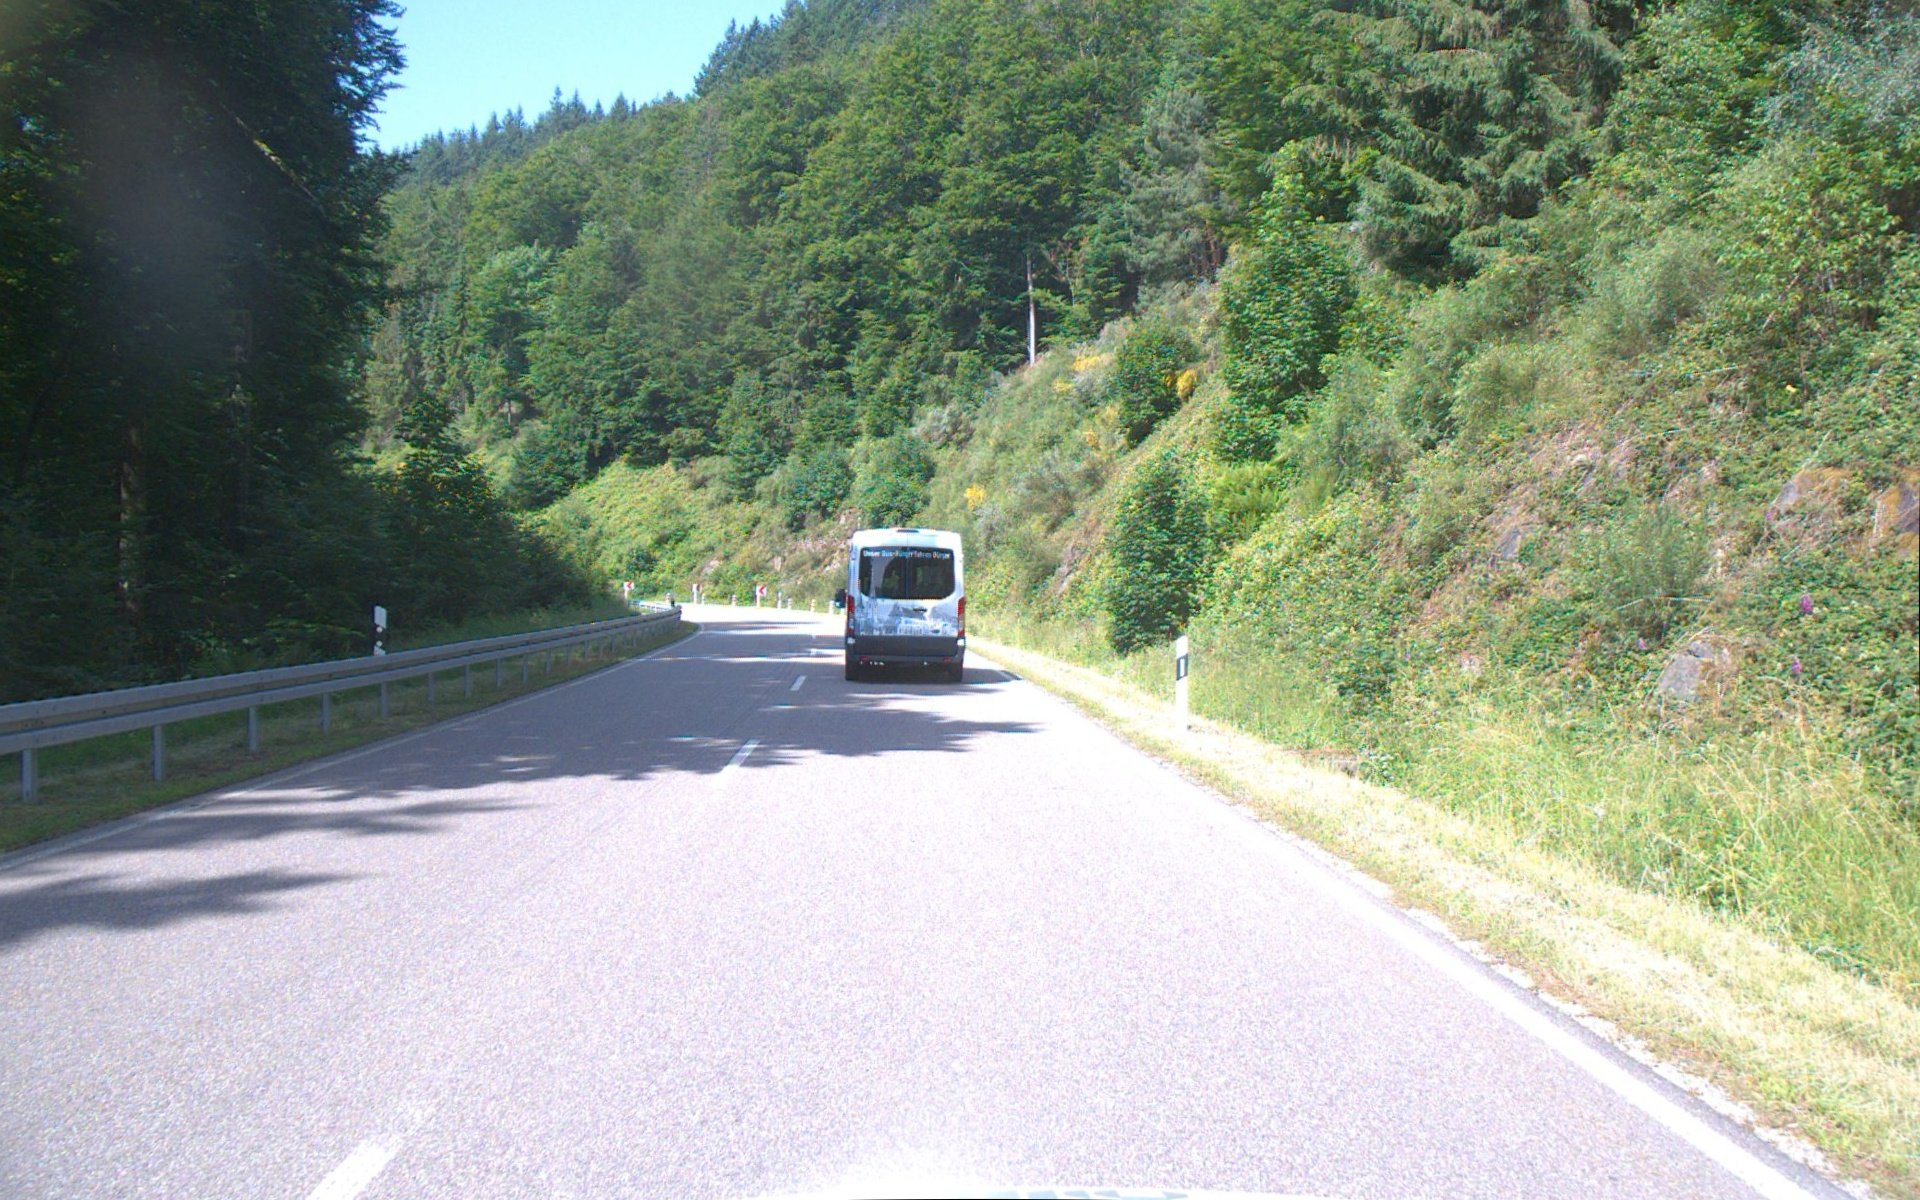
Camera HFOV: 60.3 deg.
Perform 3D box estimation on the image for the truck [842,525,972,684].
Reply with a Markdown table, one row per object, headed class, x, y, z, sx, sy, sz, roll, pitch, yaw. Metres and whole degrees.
| class | x | y | z | sx | sy | sz | roll | pitch | yaw |
| --- | --- | --- | --- | --- | --- | --- | --- | --- | --- |
| truck | -0.984 | 0.051 | 28.712 | 2.042 | 2.502 | 4.871 | 1 | 0 | -4 |
